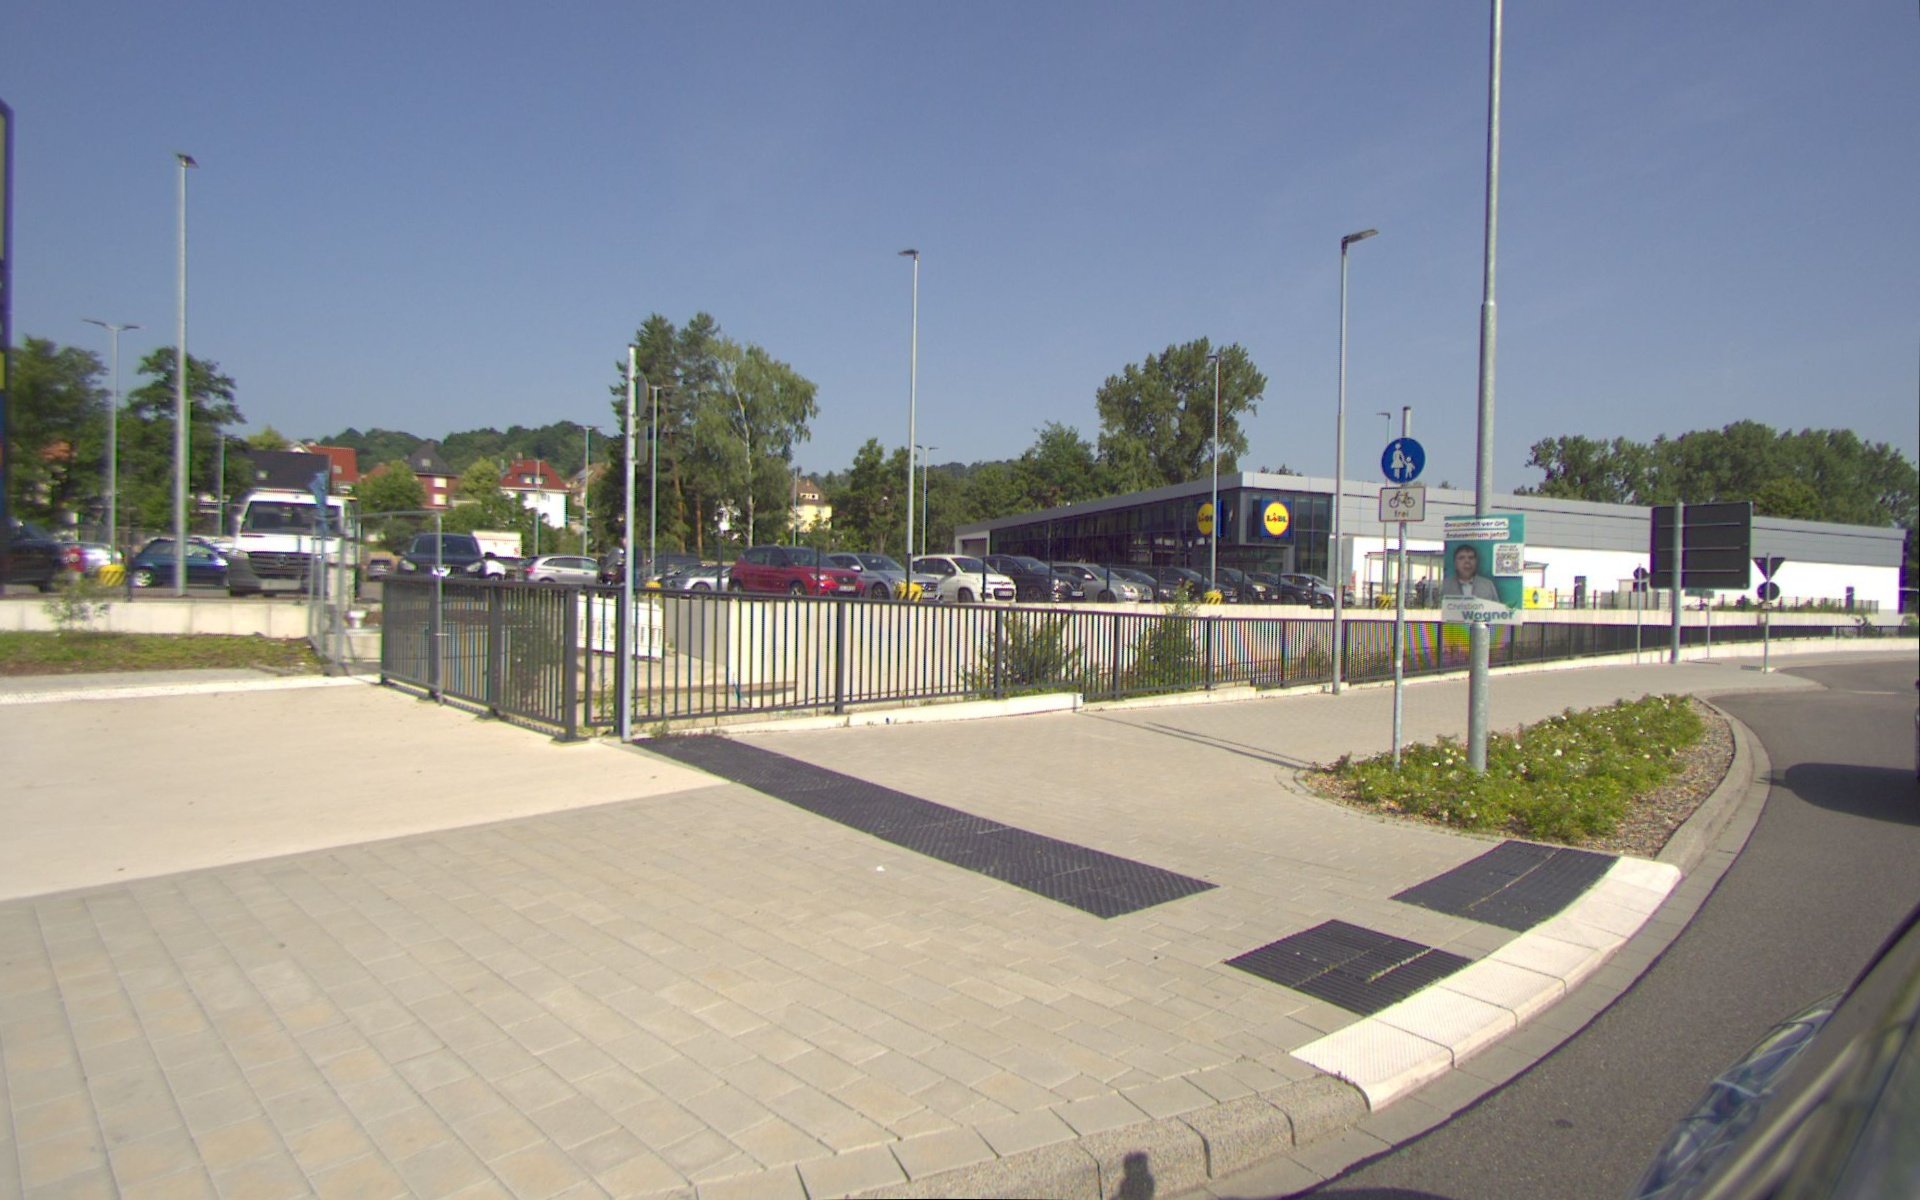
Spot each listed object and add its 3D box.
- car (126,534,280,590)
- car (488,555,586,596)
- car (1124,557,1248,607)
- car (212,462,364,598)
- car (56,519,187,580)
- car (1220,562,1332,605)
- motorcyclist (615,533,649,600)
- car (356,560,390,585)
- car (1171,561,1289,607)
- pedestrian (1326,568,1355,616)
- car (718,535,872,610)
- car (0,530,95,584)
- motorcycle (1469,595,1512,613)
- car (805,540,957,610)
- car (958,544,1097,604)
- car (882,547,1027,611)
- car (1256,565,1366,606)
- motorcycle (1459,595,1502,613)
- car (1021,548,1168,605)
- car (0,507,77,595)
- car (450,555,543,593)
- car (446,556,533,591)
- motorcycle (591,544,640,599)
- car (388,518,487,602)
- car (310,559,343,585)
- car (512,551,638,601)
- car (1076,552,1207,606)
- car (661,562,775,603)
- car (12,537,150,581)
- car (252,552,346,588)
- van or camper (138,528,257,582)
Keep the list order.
[{"bbox_3d":[-24.042,-1.159,32.305,3.711,1.594,1.765,1,-2,-30],"label":"car"},{"bbox_3d":[-18.083,-1.030,43.286,3.711,1.594,1.765,1,-2,-30],"label":"car"},{"bbox_3d":[7.899,-0.578,35.582,3.986,1.594,1.677,-1,-2,44],"label":"car"},{"bbox_3d":[-14.555,-1.328,22.284,2.018,2.414,6.099,1,-1,-27],"label":"car"},{"bbox_3d":[-40.462,-2.377,48.978,4.554,2.651,2.001,1,-2,-30],"label":"car"},{"bbox_3d":[12.679,-0.612,40.699,3.986,1.594,1.677,-1,-2,44],"label":"car"},{"bbox_3d":[-7.855,-0.797,24.247,0.509,1.563,0.578,-1,-2,23],"label":"motorcyclist"},{"bbox_3d":[-41.180,-1.906,70.976,1.730,1.594,3.785,1,-2,-36],"label":"car"},{"bbox_3d":[10.113,-0.547,38.028,3.986,1.594,1.677,-1,-2,44],"label":"car"},{"bbox_3d":[16.465,-0.324,43.817,0.846,2.040,0.833,1,-2,-31],"label":"pedestrian"},{"bbox_3d":[-4.053,-0.590,24.470,1.749,1.594,4.011,1,-2,-44],"label":"car"},{"bbox_3d":[-28.151,-1.270,29.989,3.558,1.464,1.527,1,-2,-29],"label":"car"},{"bbox_3d":[26.472,0.207,50.563,1.859,0.875,0.621,-1,-2,27],"label":"motorcycle"},{"bbox_3d":[-2.076,-0.562,25.806,1.749,1.594,4.011,1,-2,-44],"label":"car"},{"bbox_3d":[1.935,-0.699,29.809,3.986,1.594,1.677,-1,-2,44],"label":"car"},{"bbox_3d":[-0.206,-0.516,27.992,3.986,1.594,1.677,-1,-2,44],"label":"car"},{"bbox_3d":[15.004,-0.578,43.372,4.117,1.594,1.677,-1,-2,44],"label":"car"},{"bbox_3d":[25.621,0.193,49.883,1.859,0.875,0.621,-1,-2,27],"label":"motorcycle"},{"bbox_3d":[4.109,-0.666,31.408,4.400,1.594,1.677,-1,-2,44],"label":"car"},{"bbox_3d":[-19.328,-0.943,19.695,1.882,1.550,4.868,1,-1,-25],"label":"car"},{"bbox_3d":[-21.145,-1.162,46.190,3.711,1.594,1.765,1,-2,-30],"label":"car"},{"bbox_3d":[-23.141,-1.265,49.779,3.711,1.594,1.765,1,-2,-30],"label":"car"},{"bbox_3d":[-8.091,-0.641,23.857,0.579,1.206,1.904,1,-1,-3],"label":"motorcycle"},{"bbox_3d":[-11.852,-0.820,23.093,1.795,1.623,4.483,1,-1,-26],"label":"car"},{"bbox_3d":[-44.286,-1.912,70.712,1.680,1.594,3.785,1,-2,-36],"label":"car"},{"bbox_3d":[-13.901,-0.820,36.578,3.922,1.639,2.000,1,-2,-33],"label":"car"},{"bbox_3d":[5.904,-0.628,33.178,3.986,1.594,1.677,-1,-2,44],"label":"car"},{"bbox_3d":[-9.376,-0.644,39.244,3.922,1.476,1.801,1,-2,-33],"label":"car"},{"bbox_3d":[-32.397,-1.476,37.405,3.558,1.464,1.527,1,-2,-29],"label":"car"},{"bbox_3d":[-32.072,-1.426,49.215,3.711,1.594,1.765,1,-2,-30],"label":"car"},{"bbox_3d":[-44.028,-2.543,58.617,5.180,2.884,2.297,1,-2,-30],"label":"van or camper"}]
